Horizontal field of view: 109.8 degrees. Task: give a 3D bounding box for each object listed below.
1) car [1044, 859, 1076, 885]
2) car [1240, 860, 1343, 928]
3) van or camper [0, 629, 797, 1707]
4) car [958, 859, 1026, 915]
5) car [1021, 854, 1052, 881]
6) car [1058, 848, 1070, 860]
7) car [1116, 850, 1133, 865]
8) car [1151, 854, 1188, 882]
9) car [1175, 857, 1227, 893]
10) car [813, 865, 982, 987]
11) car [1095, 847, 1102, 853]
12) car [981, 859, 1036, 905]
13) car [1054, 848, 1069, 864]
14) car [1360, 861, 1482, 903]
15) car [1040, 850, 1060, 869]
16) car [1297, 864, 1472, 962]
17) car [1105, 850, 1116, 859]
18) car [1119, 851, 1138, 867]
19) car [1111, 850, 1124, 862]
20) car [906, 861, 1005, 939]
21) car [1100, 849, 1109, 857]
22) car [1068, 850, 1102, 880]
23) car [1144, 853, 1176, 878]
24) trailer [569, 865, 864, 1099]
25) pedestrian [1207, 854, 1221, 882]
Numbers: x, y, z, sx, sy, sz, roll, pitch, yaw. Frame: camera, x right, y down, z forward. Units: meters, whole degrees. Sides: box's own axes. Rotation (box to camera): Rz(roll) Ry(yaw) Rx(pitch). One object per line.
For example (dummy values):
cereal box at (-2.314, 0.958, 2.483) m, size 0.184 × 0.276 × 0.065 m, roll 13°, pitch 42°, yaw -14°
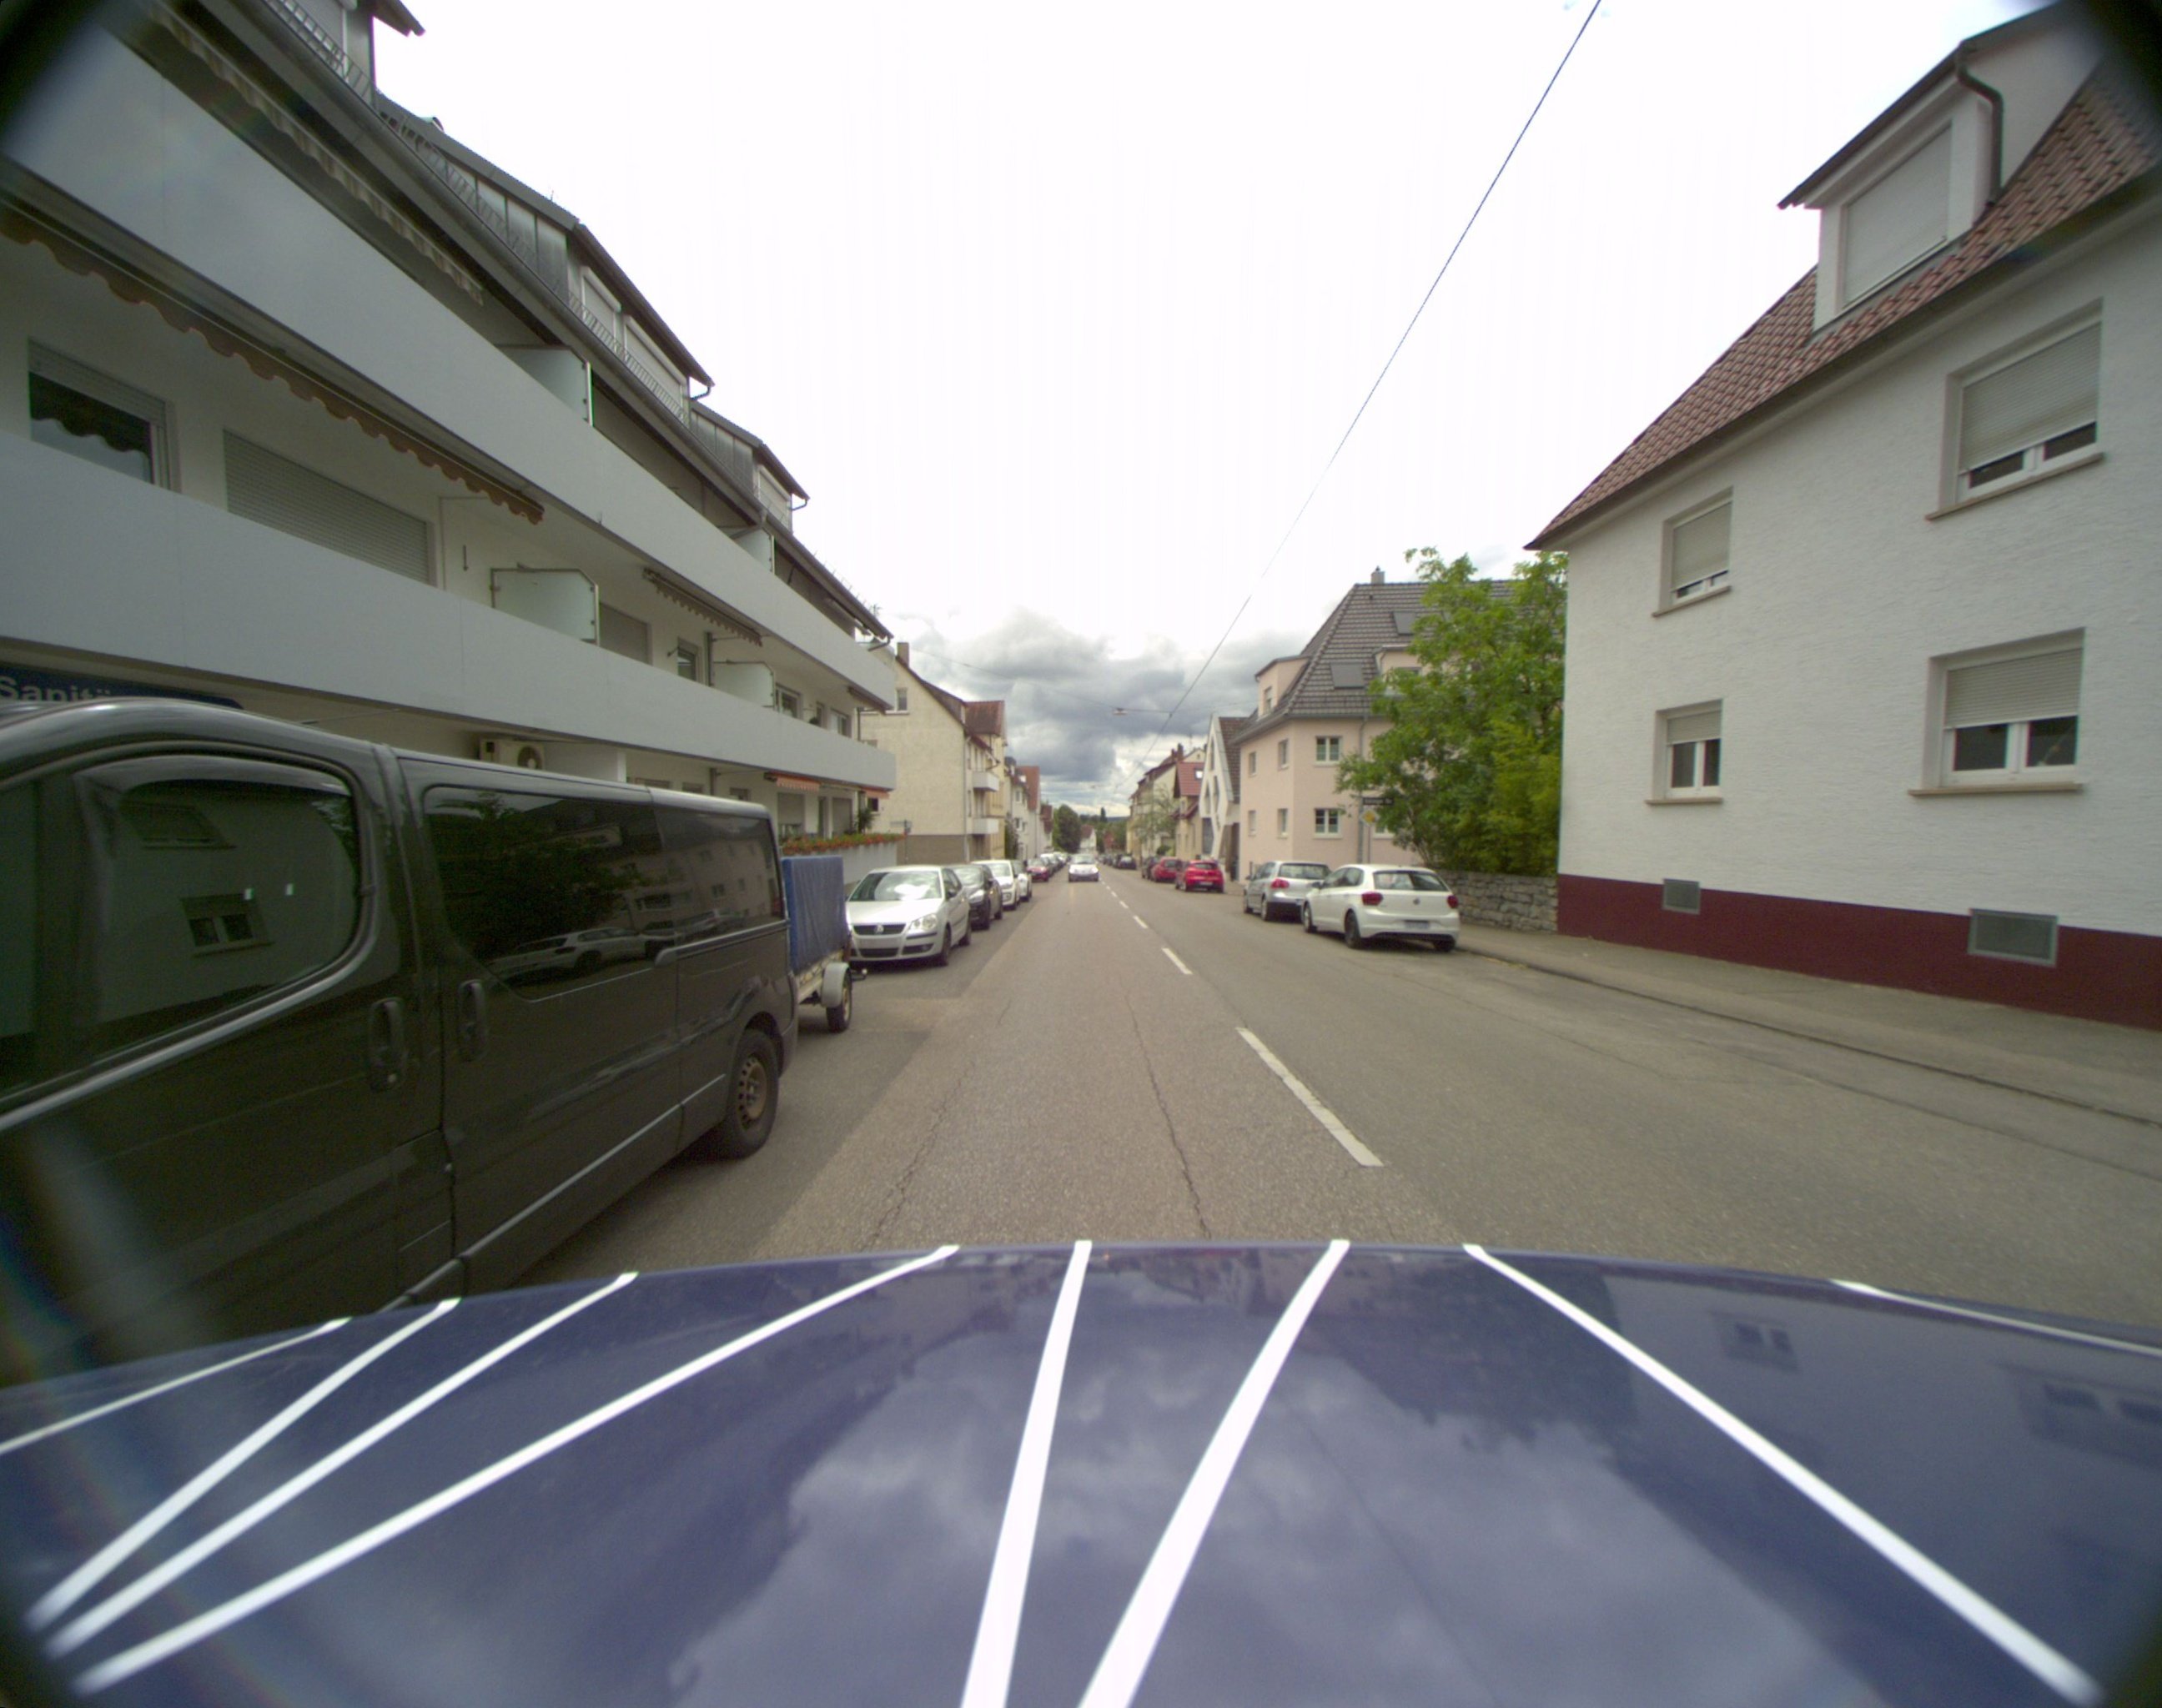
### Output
car at (-1.424, 1.198, 52.188) m, size 1.998 × 1.608 × 3.999 m, roll -2°, pitch 1°, yaw 0°
car at (5.119, 0.910, 18.946) m, size 1.653 × 1.438 × 3.774 m, roll 1°, pitch 1°, yaw 2°
van or camper at (-2.743, 0.672, 2.080) m, size 1.999 × 2.002 × 5.063 m, roll -3°, pitch 0°, yaw -1°
car at (-2.598, 0.934, 22.853) m, size 1.613 × 1.447 × 3.313 m, roll -2°, pitch 1°, yaw 0°
car at (-2.677, 0.787, 46.406) m, size 1.613 × 1.447 × 3.858 m, roll -2°, pitch 1°, yaw 0°
car at (-2.519, -0.004, 114.040) m, size 1.613 × 1.789 × 3.858 m, roll -2°, pitch 1°, yaw 0°
car at (5.107, 0.384, 88.925) m, size 1.706 × 1.524 × 3.735 m, roll 3°, pitch 1°, yaw 0°
car at (5.307, 0.803, 45.997) m, size 1.706 × 1.524 × 3.735 m, roll 3°, pitch 1°, yaw 0°
car at (5.410, 0.913, 34.672) m, size 1.706 × 1.402 × 3.735 m, roll 3°, pitch 1°, yaw 0°
car at (-2.705, 0.985, 12.208) m, size 1.613 × 1.447 × 4.333 m, roll -2°, pitch 1°, yaw 0°
car at (5.166, -1.213, 218.639) m, size 1.705 × 1.706 × 3.737 m, roll 3°, pitch 1°, yaw 5°
car at (-2.521, 0.946, 27.079) m, size 1.584 × 1.397 × 3.597 m, roll -2°, pitch 1°, yaw 0°
car at (-2.373, 0.220, 92.522) m, size 1.613 × 1.789 × 3.858 m, roll -2°, pitch 1°, yaw 0°
car at (12.407, 1.023, 27.908) m, size 3.731 × 1.402 × 1.708 m, roll -1°, pitch 1°, yaw 4°
car at (-2.836, 0.493, 70.150) m, size 1.613 × 1.633 × 3.858 m, roll -2°, pitch 1°, yaw 0°
car at (5.340, 0.961, 13.926) m, size 1.653 × 1.438 × 3.811 m, roll 1°, pitch 1°, yaw 0°
car at (5.081, 0.042, 129.812) m, size 1.706 × 1.524 × 3.735 m, roll 3°, pitch 1°, yaw 0°
car at (5.196, 0.537, 83.229) m, size 1.706 × 1.524 × 3.735 m, roll 3°, pitch 1°, yaw 0°
car at (5.190, 0.261, 108.762) m, size 1.706 × 1.524 × 3.735 m, roll 3°, pitch 1°, yaw 0°
car at (-2.749, 0.960, 17.415) m, size 1.613 × 1.447 × 3.858 m, roll -2°, pitch 1°, yaw 0°
car at (5.125, -0.161, 163.097) m, size 1.706 × 1.524 × 3.735 m, roll 3°, pitch 1°, yaw 0°
car at (0.263, 0.587, 44.294) m, size 1.721 × 1.587 × 4.000 m, roll -2°, pitch 1°, yaw 3°
car at (5.257, 0.726, 51.037) m, size 1.706 × 1.524 × 3.735 m, roll 3°, pitch 1°, yaw 0°
trailer at (-2.994, 0.929, 6.841) m, size 1.426 × 1.558 × 2.834 m, roll -2°, pitch 0°, yaw -5°
pedestrian at (7.193, 0.753, 41.091) m, size 0.583 × 1.524 × 0.600 m, roll -2°, pitch 1°, yaw 0°
